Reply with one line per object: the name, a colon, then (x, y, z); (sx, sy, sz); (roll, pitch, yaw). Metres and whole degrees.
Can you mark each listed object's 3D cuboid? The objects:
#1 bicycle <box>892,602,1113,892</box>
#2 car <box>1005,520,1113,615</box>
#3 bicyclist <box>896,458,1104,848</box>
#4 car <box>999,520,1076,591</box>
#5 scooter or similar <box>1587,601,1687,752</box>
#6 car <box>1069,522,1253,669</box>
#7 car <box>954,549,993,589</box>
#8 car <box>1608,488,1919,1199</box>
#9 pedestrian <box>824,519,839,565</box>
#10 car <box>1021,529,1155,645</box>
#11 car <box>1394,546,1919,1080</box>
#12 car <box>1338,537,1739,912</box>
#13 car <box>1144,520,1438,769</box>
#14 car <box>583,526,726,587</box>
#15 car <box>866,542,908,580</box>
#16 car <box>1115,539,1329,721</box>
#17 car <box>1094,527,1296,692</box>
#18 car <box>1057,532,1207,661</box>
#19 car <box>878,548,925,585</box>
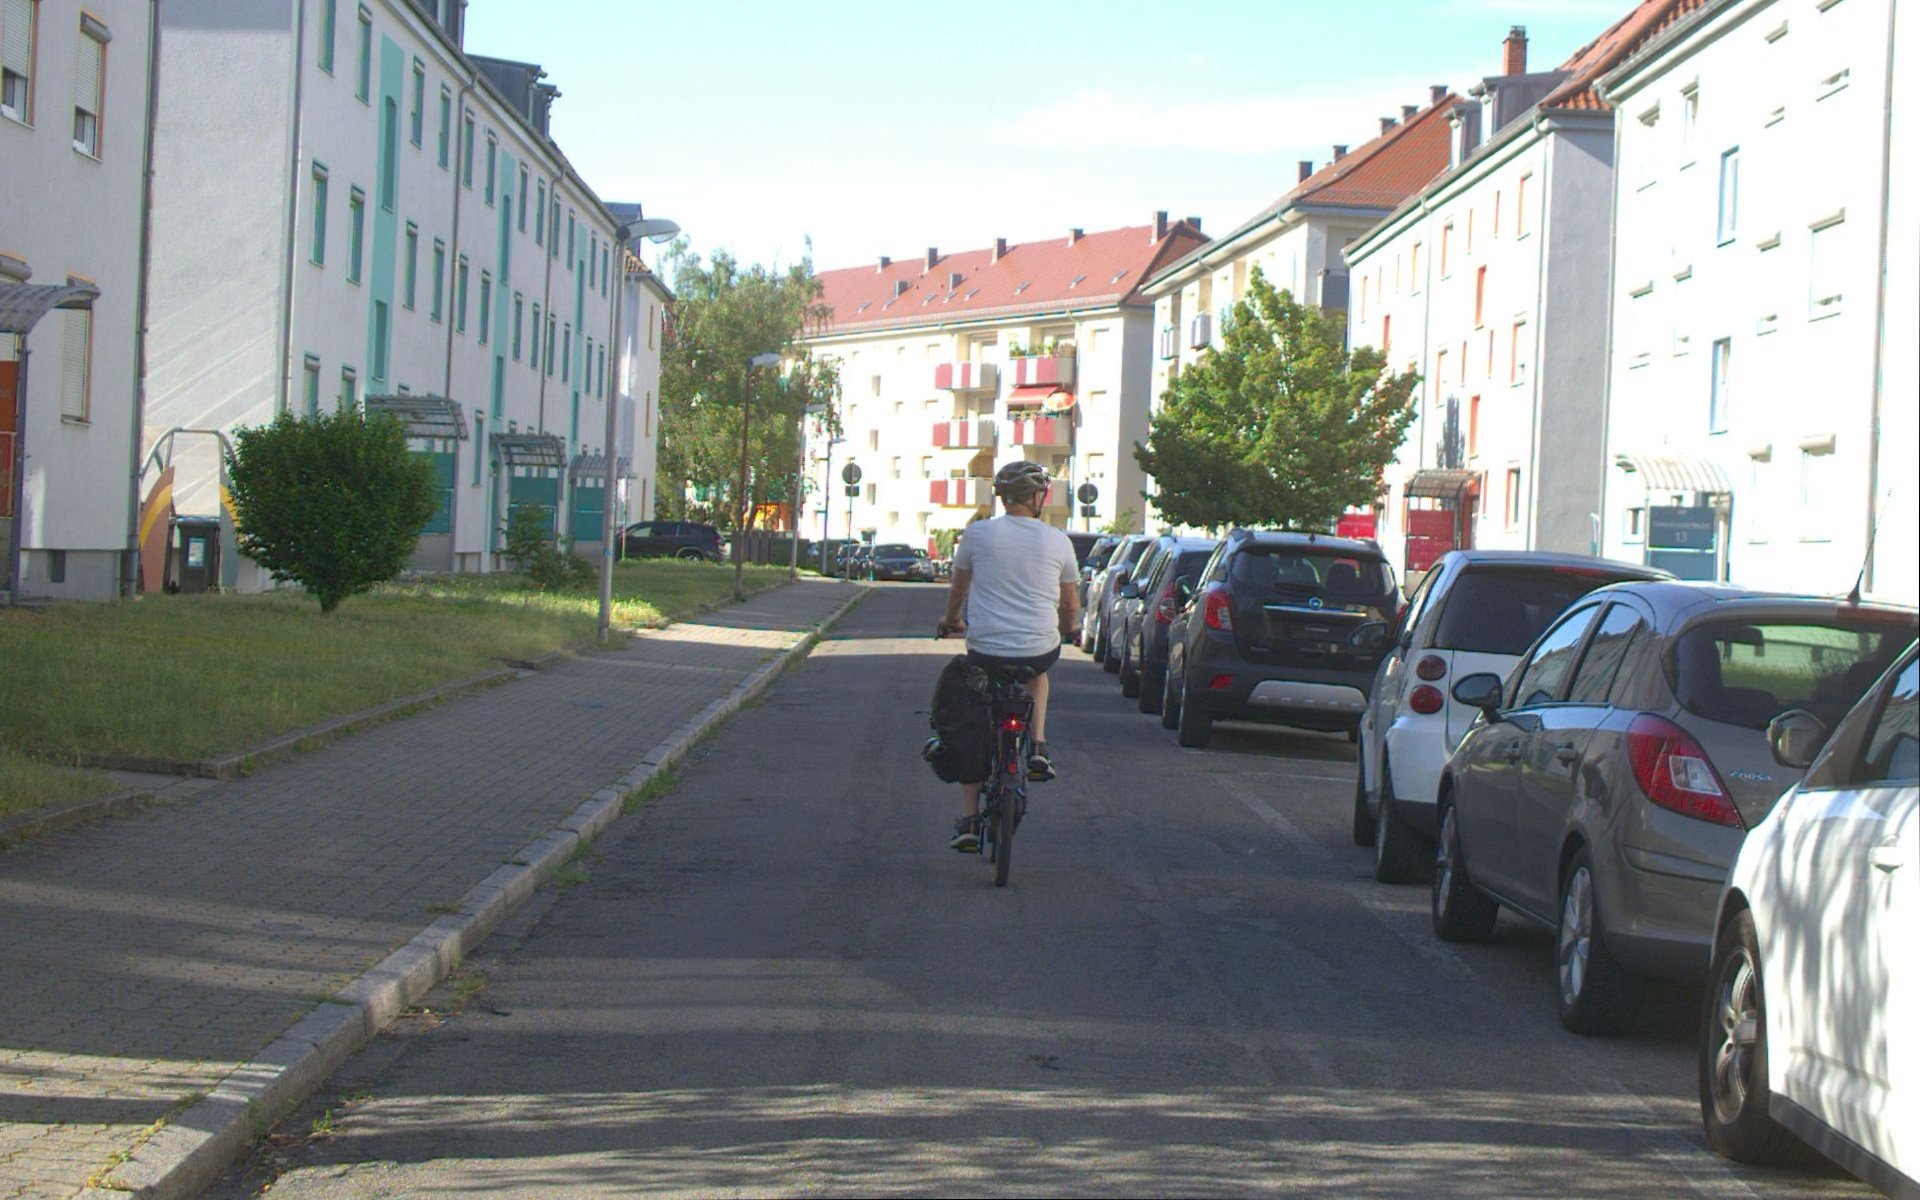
bicycle: (0.155, 0.606, 15.173); (0.808, 1.124, 2.102); (2, 1, -3)
car: (1.899, -0.661, 67.023); (1.700, 1.665, 4.380); (5, 1, -2)
bicyclist: (0.163, 0.219, 15.140); (0.808, 1.638, 0.899); (2, 1, -3)
car: (2.021, -1.185, 90.534); (1.674, 1.733, 3.943); (4, 1, -2)
scooter or similar: (5.403, 0.596, 27.503); (0.483, 1.145, 1.589); (0, 1, 0)
car: (2.492, -0.098, 43.568); (1.750, 1.612, 4.453); (5, 1, -2)
car: (0.543, -1.263, 140.071); (1.381, 1.492, 3.077); (4, 1, -2)
car: (2.795, 0.661, 7.044); (1.994, 1.607, 4.995); (5, 1, 2)
pedestrian: (-4.468, -2.030, 119.623); (0.434, 1.569, 0.543); (2, 1, -1)
car: (2.060, -0.234, 56.371); (1.862, 1.662, 4.127); (5, 1, -1)
car: (2.739, 0.630, 12.165); (1.693, 1.486, 3.985); (5, 1, -1)
car: (2.711, 0.527, 16.639); (1.480, 1.524, 2.940); (5, 1, 4)
car: (2.483, 0.278, 26.814); (1.783, 1.642, 4.469); (5, 1, 1)
car: (-9.280, -1.324, 104.627); (4.231, 1.633, 1.583); (3, 1, -4)
car: (-2.730, -1.464, 127.966); (1.469, 1.331, 3.141); (2, 1, -2)
car: (2.368, 0.221, 31.912); (1.641, 1.493, 4.156); (3, 1, 1)
car: (2.499, 0.051, 37.517); (1.690, 1.569, 4.435); (4, 1, -1)
car: (2.388, -0.093, 48.777); (1.712, 1.590, 4.398); (6, 1, -1)
car: (-2.114, -1.209, 123.603); (1.469, 1.331, 3.141); (0, 1, -5)
